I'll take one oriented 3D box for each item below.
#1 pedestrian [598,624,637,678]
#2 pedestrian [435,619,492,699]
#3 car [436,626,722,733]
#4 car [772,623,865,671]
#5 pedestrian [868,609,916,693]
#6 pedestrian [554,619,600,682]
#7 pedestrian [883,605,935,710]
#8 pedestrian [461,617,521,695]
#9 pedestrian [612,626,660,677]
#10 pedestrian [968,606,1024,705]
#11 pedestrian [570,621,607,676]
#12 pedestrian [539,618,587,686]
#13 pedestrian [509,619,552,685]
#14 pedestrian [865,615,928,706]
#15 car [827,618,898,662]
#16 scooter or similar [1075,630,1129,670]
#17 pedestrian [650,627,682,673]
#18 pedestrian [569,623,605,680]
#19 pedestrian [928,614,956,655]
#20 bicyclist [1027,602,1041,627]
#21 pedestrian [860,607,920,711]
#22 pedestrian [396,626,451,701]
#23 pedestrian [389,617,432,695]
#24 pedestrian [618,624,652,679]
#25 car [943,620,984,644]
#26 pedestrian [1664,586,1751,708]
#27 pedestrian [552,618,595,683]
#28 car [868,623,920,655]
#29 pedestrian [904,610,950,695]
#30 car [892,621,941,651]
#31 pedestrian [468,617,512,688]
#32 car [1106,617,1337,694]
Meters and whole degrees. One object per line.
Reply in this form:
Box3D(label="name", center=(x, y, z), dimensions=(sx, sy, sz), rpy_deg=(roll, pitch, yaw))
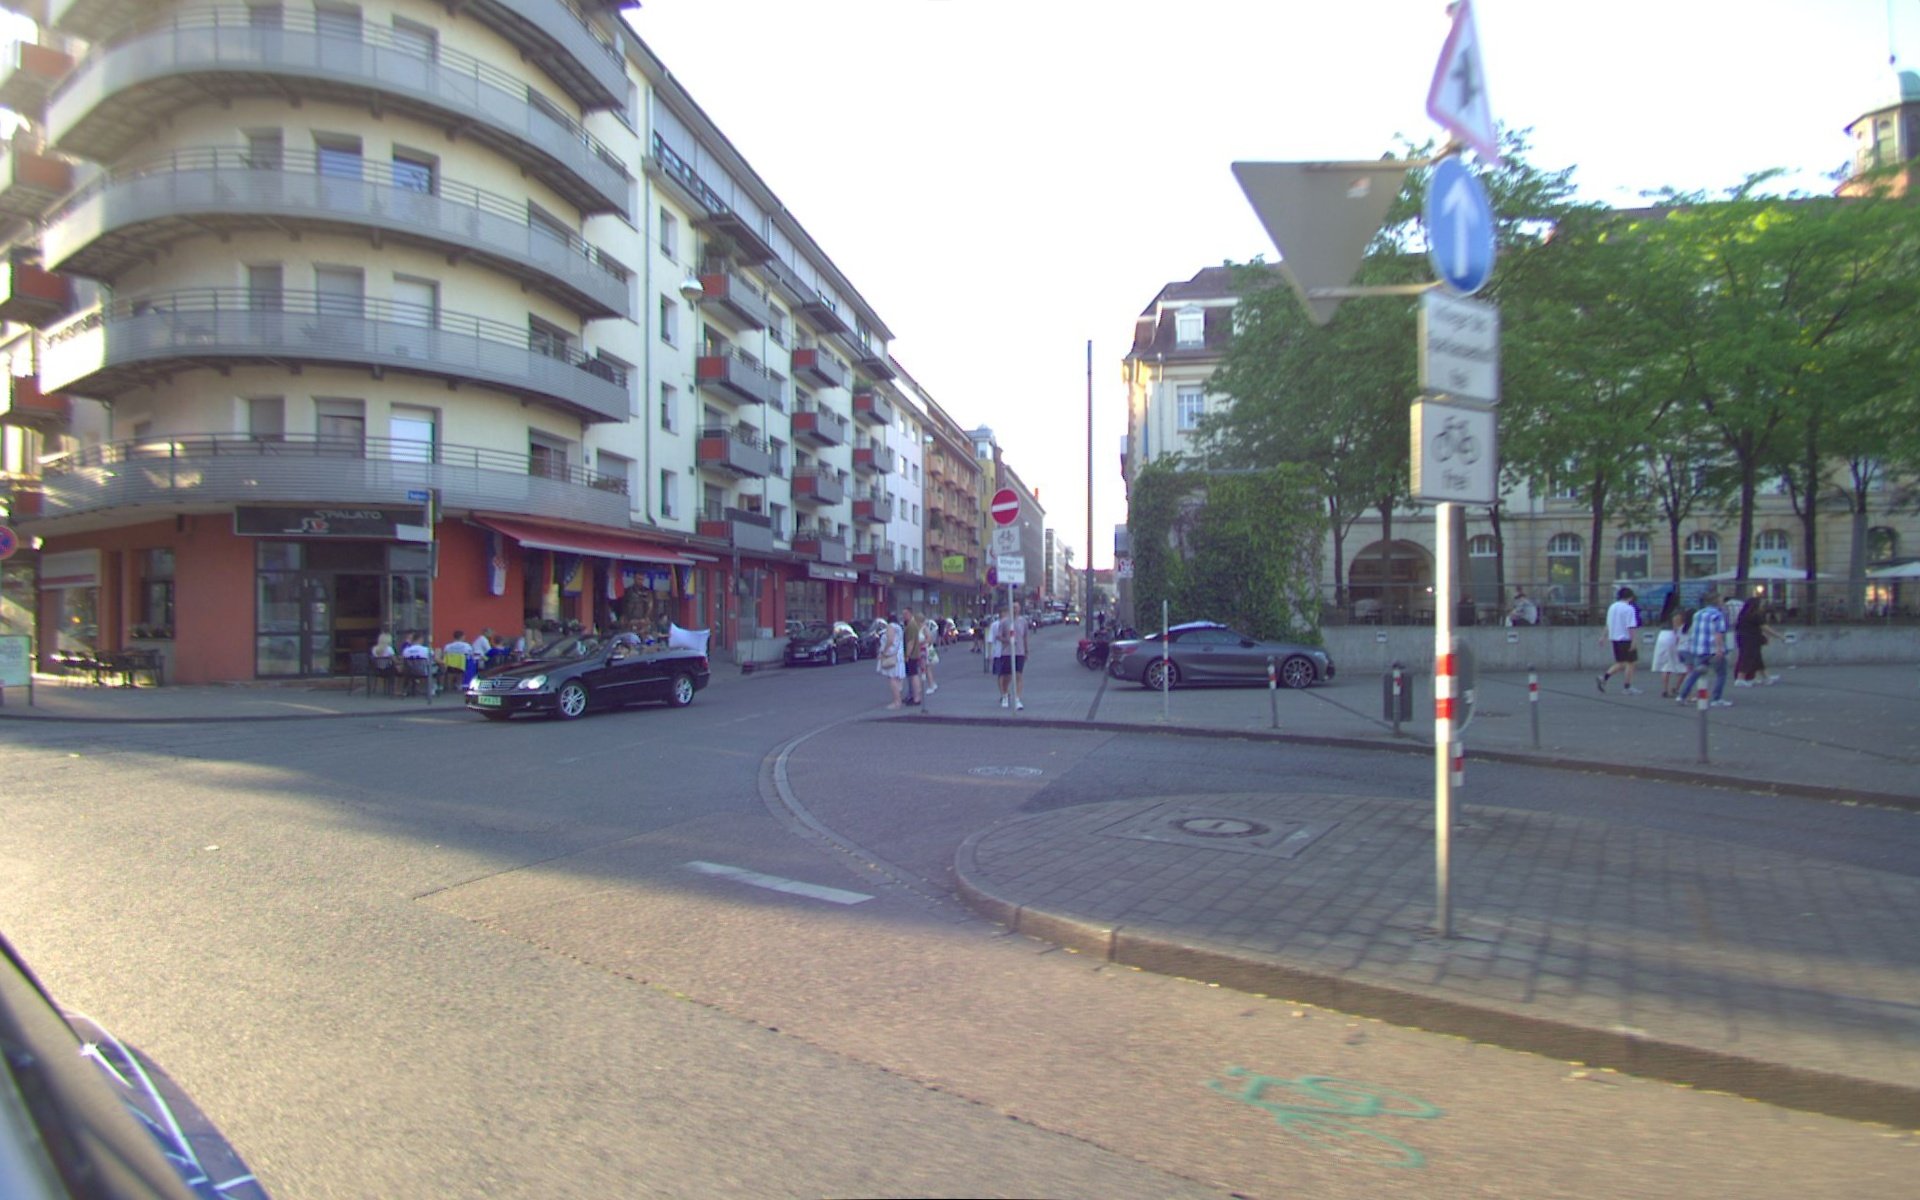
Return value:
Box3D(label="pedestrian", center=(-8.874, 1.321, 26.242), dimensions=(0.647, 1.355, 0.748), rpy_deg=(2, -1, 7))
Box3D(label="pedestrian", center=(-10.037, 1.178, 20.482), dimensions=(0.711, 1.547, 0.683), rpy_deg=(-1, 3, 27))
Box3D(label="car", center=(-6.151, 1.206, 16.982), dimensions=(1.800, 1.418, 4.579), rpy_deg=(0, 0, 24))
Box3D(label="car", center=(-4.972, 1.630, 36.274), dimensions=(1.860, 1.564, 4.613), rpy_deg=(-2, -1, 12))
Box3D(label="pedestrian", center=(-1.515, 1.133, 22.686), dimensions=(0.843, 1.807, 0.866), rpy_deg=(-2, -2, 12))
Box3D(label="pedestrian", center=(-9.693, 1.263, 25.641), dimensions=(0.843, 1.547, 0.678), rpy_deg=(-2, -2, 7))
Box3D(label="pedestrian", center=(-0.940, 1.058, 18.765), dimensions=(0.707, 1.891, 0.849), rpy_deg=(-2, -2, 13))
Box3D(label="pedestrian", center=(-9.793, 1.143, 21.156), dimensions=(0.707, 1.547, 0.850), rpy_deg=(3, 0, 11))
Box3D(label="pedestrian", center=(-8.754, 1.368, 27.347), dimensions=(0.875, 1.315, 0.844), rpy_deg=(0, 0, 30))
Box3D(label="pedestrian", center=(0.669, 1.048, 19.249), dimensions=(0.971, 1.807, 0.890), rpy_deg=(-2, -2, 0))
Box3D(label="pedestrian", center=(-9.986, 1.294, 27.191), dimensions=(0.706, 1.432, 0.600), rpy_deg=(-2, -2, 9))
Box3D(label="pedestrian", center=(-9.405, 1.210, 24.000), dimensions=(0.706, 1.547, 0.758), rpy_deg=(3, -1, 6))
Box3D(label="pedestrian", center=(-10.302, 1.229, 24.267), dimensions=(0.668, 1.547, 0.653), rpy_deg=(2, -1, 8))
Box3D(label="pedestrian", center=(-1.231, 1.161, 19.502), dimensions=(0.882, 1.681, 0.705), rpy_deg=(-6, -3, 41))
Box3D(label="car", center=(-3.991, 1.623, 42.152), dimensions=(1.864, 1.712, 4.124), rpy_deg=(-2, -1, 10))
Box3D(label="scooter or similar", center=(4.138, 1.447, 29.461), dimensions=(1.474, 1.096, 0.411), rpy_deg=(-2, -2, -7))
Box3D(label="pedestrian", center=(-8.559, 1.438, 29.463), dimensions=(0.839, 1.287, 0.716), rpy_deg=(0, 1, -12))
Box3D(label="pedestrian", center=(-9.702, 1.336, 26.304), dimensions=(0.660, 1.445, 0.560), rpy_deg=(1, -1, 8))
Box3D(label="pedestrian", center=(-0.828, 1.570, 46.663), dimensions=(0.991, 1.841, 0.949), rpy_deg=(-1, -2, -17))
Box3D(label="bicyclist", center=(6.151, 1.178, 84.253), dimensions=(1.035, 2.029, 1.178), rpy_deg=(-1, -1, 12))
Box3D(label="pedestrian", center=(-1.249, 1.048, 18.233), dimensions=(0.710, 1.817, 0.875), rpy_deg=(-2, -2, 24))
Box3D(label="pedestrian", center=(-10.252, 1.196, 19.360), dimensions=(0.757, 1.392, 0.841), rpy_deg=(0, 0, -16))
Box3D(label="pedestrian", center=(-11.372, 1.148, 20.963), dimensions=(0.702, 1.547, 0.856), rpy_deg=(-1, -2, -25))
Box3D(label="pedestrian", center=(-9.398, 1.473, 29.288), dimensions=(0.839, 1.547, 0.716), rpy_deg=(-1, -2, -12))
Box3D(label="car", center=(0.268, 2.043, 65.734), dimensions=(1.879, 1.488, 4.284), rpy_deg=(-2, -1, 12))
Box3D(label="pedestrian", center=(11.150, 0.691, 15.105), dimensions=(0.676, 1.759, 0.718), rpy_deg=(-1, -2, -19))
Box3D(label="pedestrian", center=(-9.461, 1.230, 24.789), dimensions=(0.643, 1.539, 0.699), rpy_deg=(3, -1, 6))
Box3D(label="car", center=(-3.113, 1.851, 48.640), dimensions=(1.733, 1.414, 3.957), rpy_deg=(-2, -1, 7))
Box3D(label="pedestrian", center=(-0.721, 1.128, 22.093), dimensions=(0.804, 1.807, 0.734), rpy_deg=(-2, -2, 12))
Box3D(label="car", center=(-2.275, 1.898, 53.941), dimensions=(1.749, 1.488, 3.934), rpy_deg=(-2, -1, 10))
Box3D(label="pedestrian", center=(-10.552, 1.171, 22.734), dimensions=(0.752, 1.547, 0.639), rpy_deg=(-3, -2, 43))
Box3D(label="car", center=(5.464, 1.160, 21.694), dimensions=(4.392, 1.441, 2.104), rpy_deg=(-2, -1, 4))
